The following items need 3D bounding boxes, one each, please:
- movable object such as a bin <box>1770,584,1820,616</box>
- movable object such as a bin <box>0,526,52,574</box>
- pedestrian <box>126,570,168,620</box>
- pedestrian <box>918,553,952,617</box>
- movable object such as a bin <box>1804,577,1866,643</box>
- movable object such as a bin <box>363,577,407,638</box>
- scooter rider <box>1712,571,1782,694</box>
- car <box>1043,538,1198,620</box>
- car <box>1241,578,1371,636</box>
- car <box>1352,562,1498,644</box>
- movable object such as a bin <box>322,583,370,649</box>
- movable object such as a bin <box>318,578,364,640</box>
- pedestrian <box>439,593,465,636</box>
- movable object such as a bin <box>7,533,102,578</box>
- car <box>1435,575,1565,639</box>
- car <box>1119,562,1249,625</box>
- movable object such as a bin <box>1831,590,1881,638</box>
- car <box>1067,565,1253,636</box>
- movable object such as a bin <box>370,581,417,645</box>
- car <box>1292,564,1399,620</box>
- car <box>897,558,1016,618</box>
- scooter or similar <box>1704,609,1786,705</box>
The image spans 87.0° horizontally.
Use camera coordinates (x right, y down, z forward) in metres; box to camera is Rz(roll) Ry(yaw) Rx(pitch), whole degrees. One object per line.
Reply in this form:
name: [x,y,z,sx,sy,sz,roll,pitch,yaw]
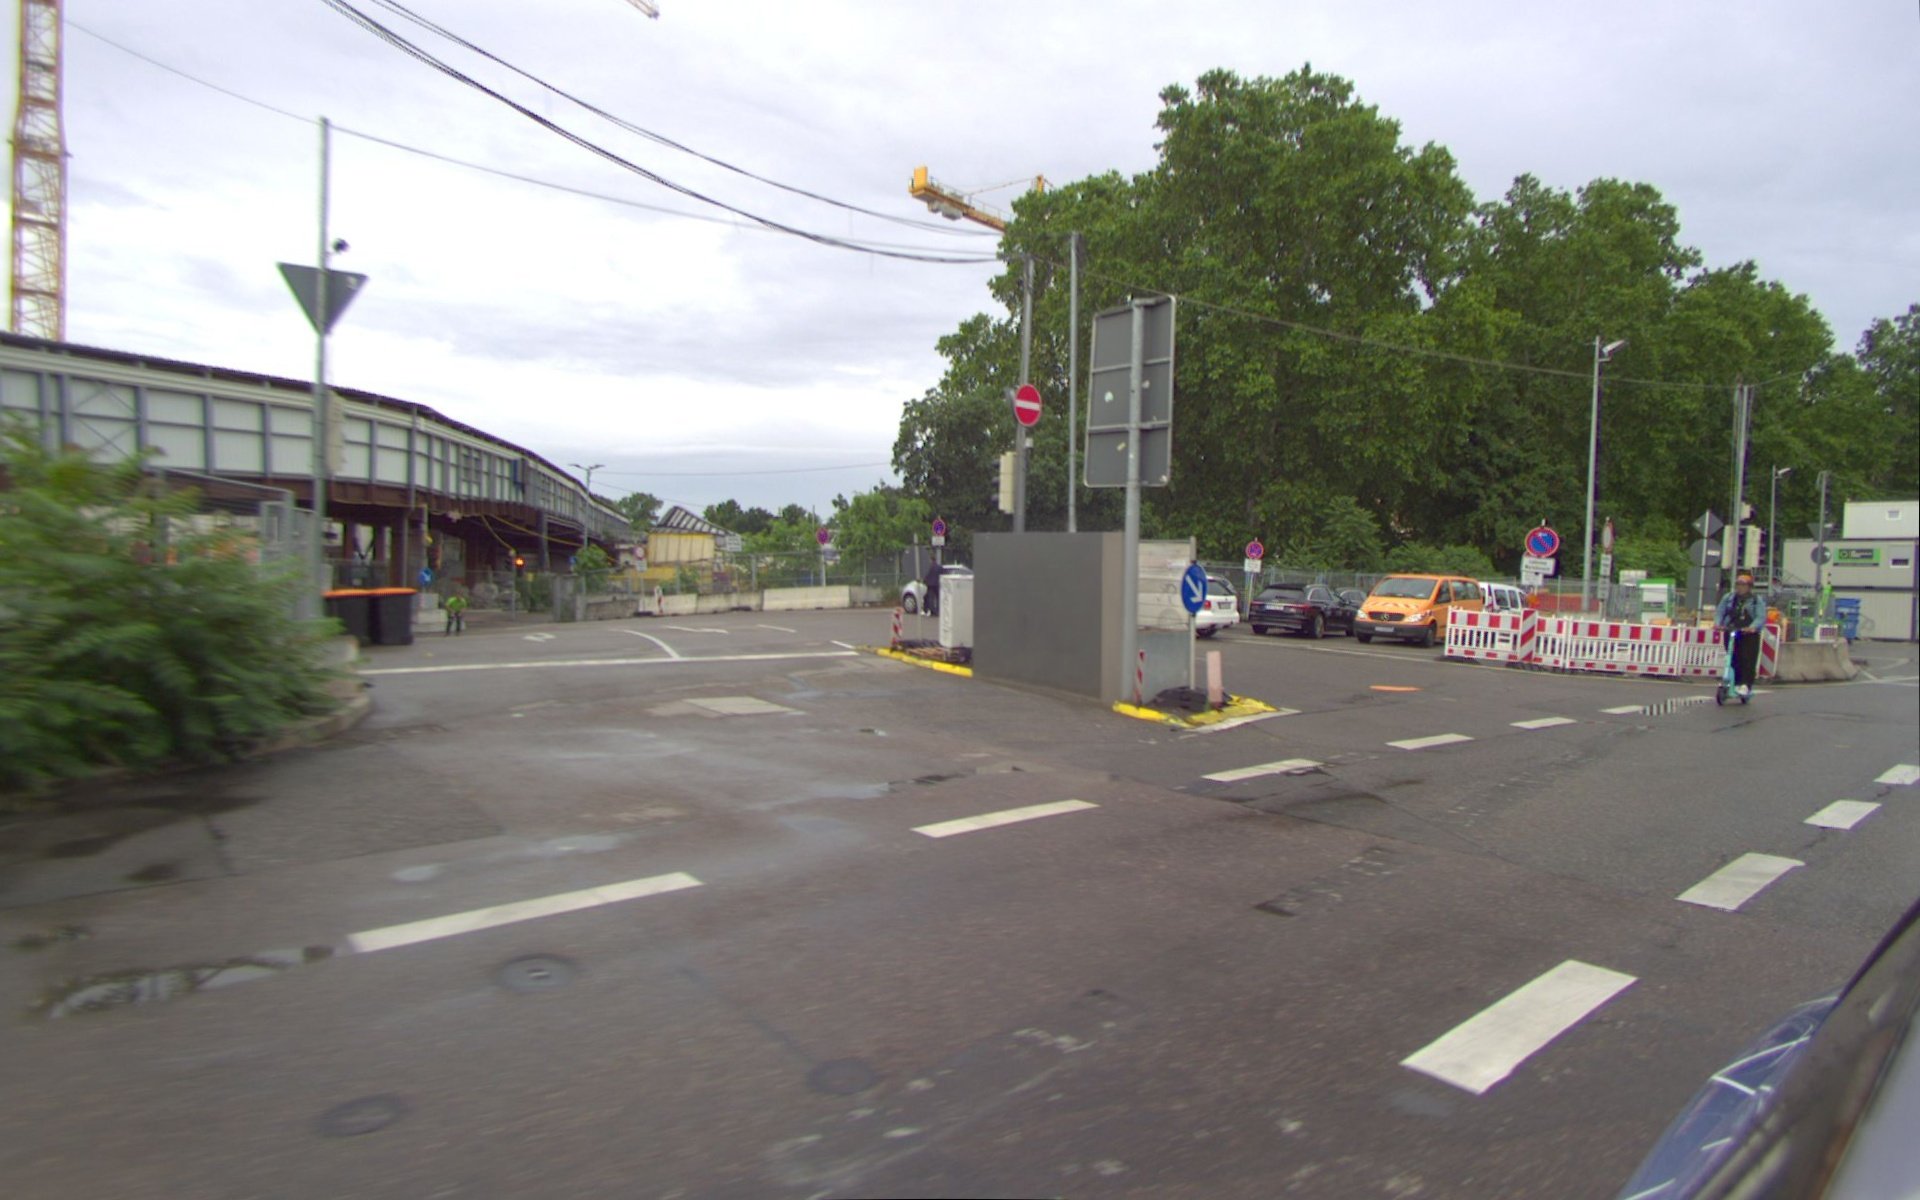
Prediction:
movable object such as a bin: [36.253,-0.010,43.957,1.238,1.361,1.182,1,1,-20]
movable object such as a bin: [-50.410,-2.650,53.117,3.975,2.370,3.248,4,6,35]
pedestrian: [-29.081,-0.183,36.205,0.741,1.704,0.843,2,5,17]
pedestrian: [-0.722,-0.445,28.863,0.806,1.754,0.710,-1,5,-16]
movable object such as a bin: [39.741,0.436,45.930,3.803,2.845,1.808,1,1,-45]
movable object such as a bin: [-11.647,0.138,20.490,0.716,1.114,0.995,-2,5,-30]
scooter rider: [12.019,0.465,15.452,0.979,1.808,0.599,-1,2,-38]
car: [5.192,-0.717,32.149,2.045,2.341,5.518,5,4,43]
car: [9.660,0.130,28.130,3.849,1.469,1.913,-1,3,-45]
car: [12.684,0.002,27.428,5.079,1.999,1.913,-1,2,-45]
movable object such as a bin: [-11.591,0.288,19.133,0.716,1.114,0.995,-2,5,-30]
movable object such as a bin: [-12.288,0.170,20.107,0.716,1.114,0.995,-2,5,-30]
pedestrian: [-17.073,0.487,34.014,0.615,1.354,0.550,4,6,39]
movable object such as a bin: [-52.475,-2.635,58.781,3.738,2.370,2.944,-3,6,-37]
car: [16.884,0.203,31.534,4.995,1.829,1.850,1,1,-40]
car: [6.598,-0.248,29.608,1.940,1.639,3.872,5,4,44]
movable object such as a bin: [42.866,0.646,48.436,1.447,2.231,1.253,2,1,27]
car: [4.811,-0.048,24.818,1.784,1.470,4.208,0,3,-43]
movable object such as a bin: [-10.933,0.225,19.520,0.732,1.114,0.995,-2,5,-30]
car: [12.994,-0.314,34.008,3.934,1.577,1.763,-4,7,-43]
car: [-0.146,-0.396,29.956,3.343,1.497,1.602,5,6,42]
scooter or similar: [11.998,0.837,15.452,1.637,1.335,0.599,-1,2,-38]
